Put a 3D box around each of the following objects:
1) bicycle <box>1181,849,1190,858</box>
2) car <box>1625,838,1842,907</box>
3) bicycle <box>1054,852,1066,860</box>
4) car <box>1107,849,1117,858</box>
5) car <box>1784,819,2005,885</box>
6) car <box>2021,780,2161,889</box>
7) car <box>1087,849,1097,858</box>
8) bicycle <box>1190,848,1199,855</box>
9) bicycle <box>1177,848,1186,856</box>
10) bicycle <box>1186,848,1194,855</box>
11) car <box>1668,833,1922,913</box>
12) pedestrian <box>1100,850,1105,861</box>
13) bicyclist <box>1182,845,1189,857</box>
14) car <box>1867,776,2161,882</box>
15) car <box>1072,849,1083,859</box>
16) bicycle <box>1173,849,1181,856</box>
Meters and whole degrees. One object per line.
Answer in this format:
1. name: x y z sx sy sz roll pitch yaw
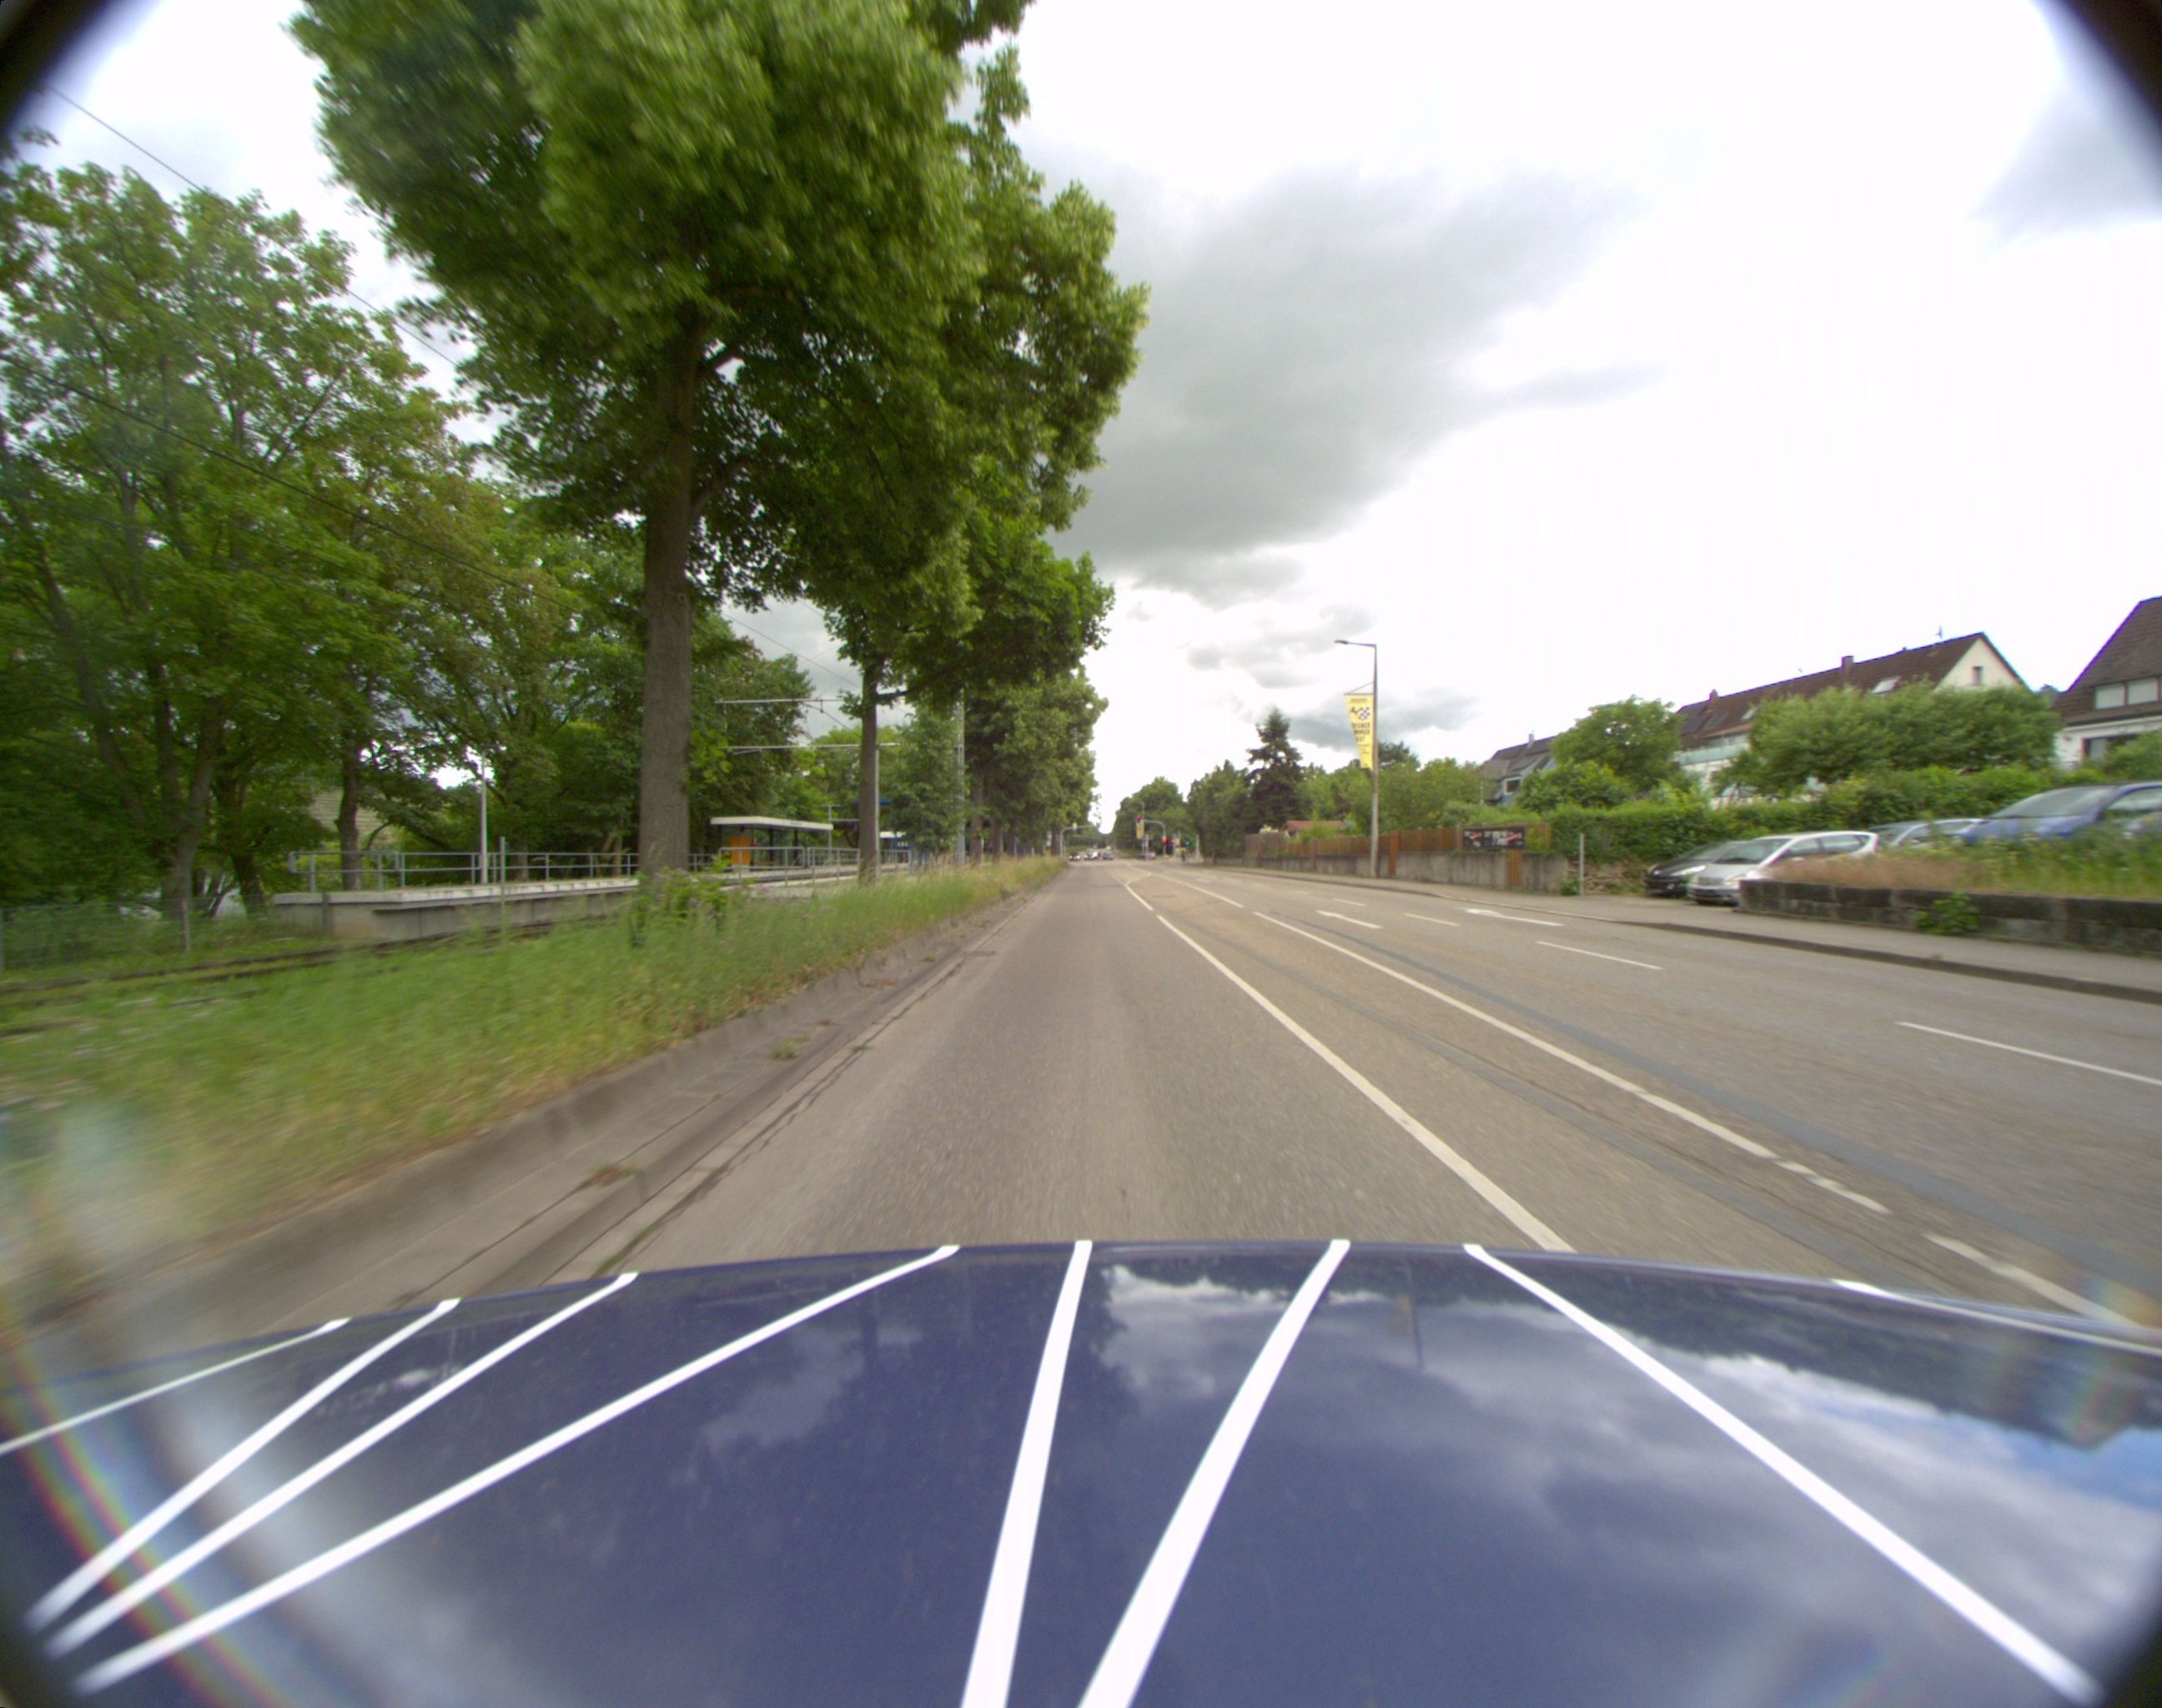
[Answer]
1. bicycle: 13.572 -0.026 98.807 0.644 1.138 2.147 -2 0 -4
2. car: 17.179 0.449 20.182 3.996 1.594 2.000 -2 1 2
3. bicycle: -3.210 0.321 116.796 1.679 1.084 0.602 2 1 -3
4. car: 5.427 -0.076 134.531 1.560 1.458 3.807 1 0 1
5. car: 21.893 -0.068 20.571 3.996 1.560 1.775 -2 1 2
6. car: 15.987 -0.345 10.431 3.995 1.403 1.534 -2 1 5
7. car: 1.985 -0.068 135.081 1.708 1.472 3.667 -1 1 0
8. bicycle: 20.607 -0.414 137.834 0.544 1.245 1.939 -1 2 38
9. bicycle: 18.442 -0.368 139.337 0.544 1.245 1.939 -1 1 38
10. bicycle: 19.844 -0.400 138.366 0.544 1.245 1.939 -1 2 38
11. car: 16.515 0.398 17.752 3.996 1.608 2.000 -2 1 2
12. pedestrian: 3.555 0.279 125.991 0.753 1.727 0.840 2 1 5
13. bicyclist: 13.562 -0.344 98.979 0.644 1.526 0.978 -2 1 -4
14. car: 15.774 -0.416 12.302 3.995 1.488 1.860 -2 1 5
15. car: -0.588 -0.024 133.759 1.807 1.520 3.929 -2 1 2
16. bicycle: 17.615 -0.340 139.785 0.544 1.245 1.939 -1 2 38
